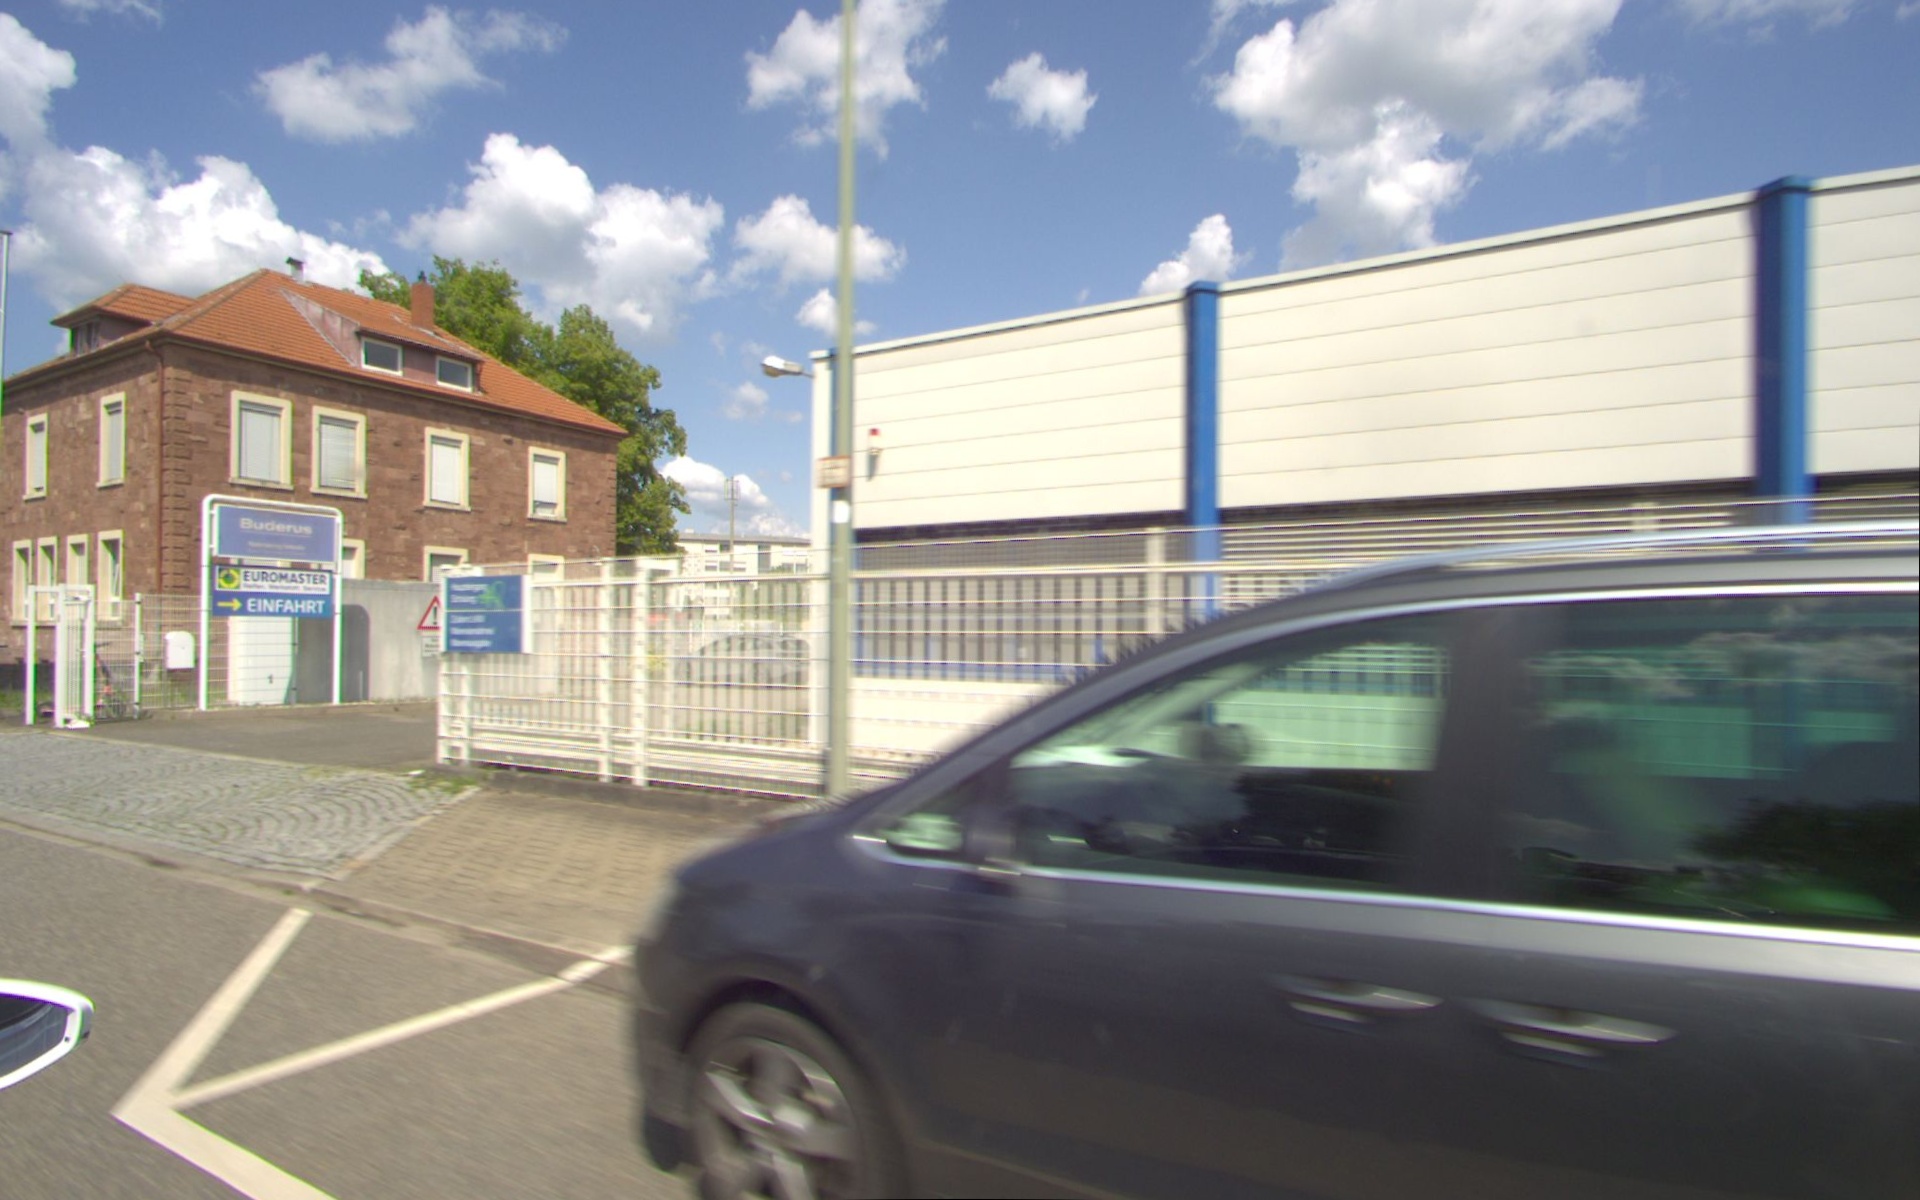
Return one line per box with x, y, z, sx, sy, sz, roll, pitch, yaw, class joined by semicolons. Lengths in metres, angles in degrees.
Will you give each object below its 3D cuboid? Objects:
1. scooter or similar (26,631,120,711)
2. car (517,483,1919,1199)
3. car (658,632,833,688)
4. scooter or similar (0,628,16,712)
-14.500;1.141;16.398;1.138;1.262;0.257;1;-1;-42;scooter or similar
1.105;0.714;2.500;4.489;1.686;1.822;0;-1;31;car
-6.351;1.710;29.493;5.019;1.496;1.991;0;-2;31;car
-15.455;1.116;16.071;0.361;1.329;0.332;0;-1;30;scooter or similar
